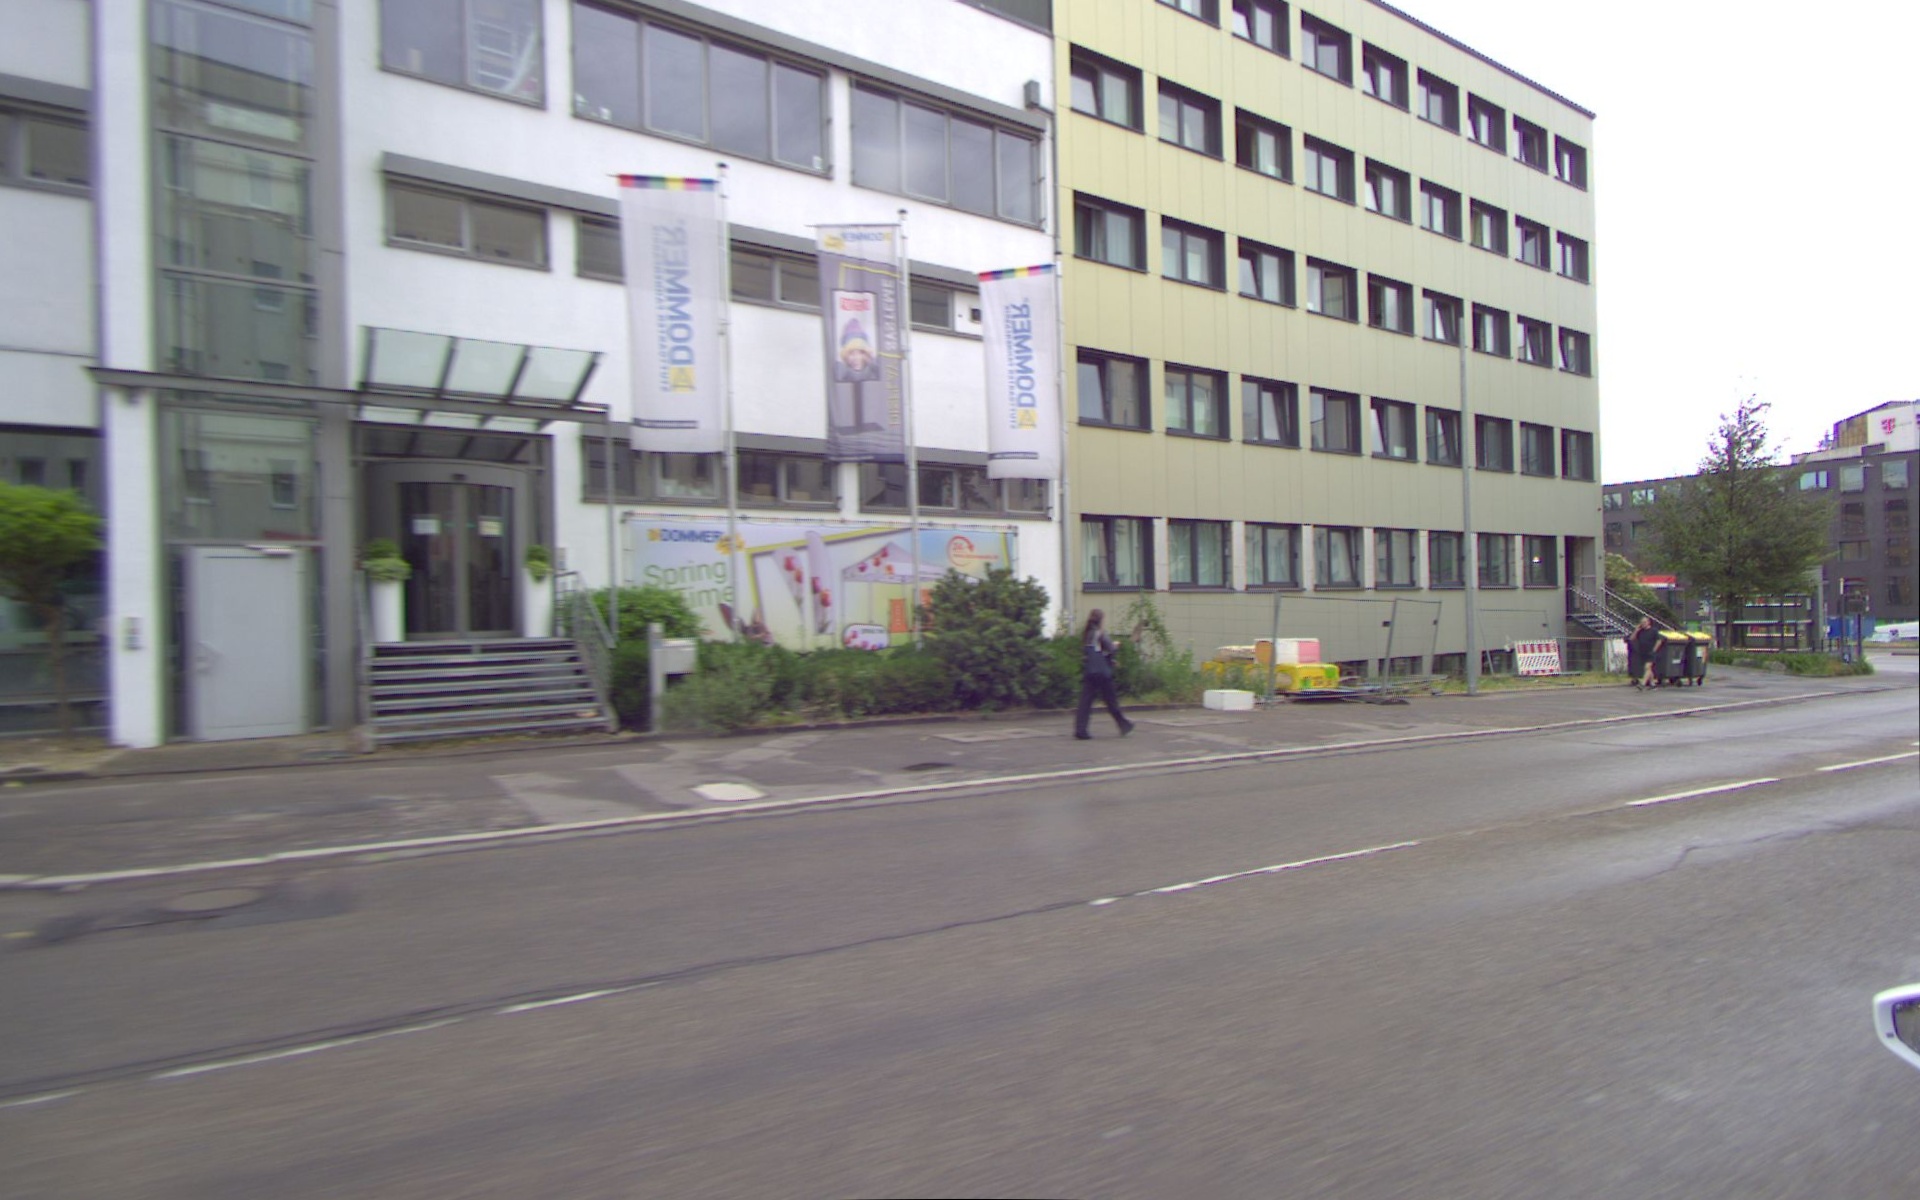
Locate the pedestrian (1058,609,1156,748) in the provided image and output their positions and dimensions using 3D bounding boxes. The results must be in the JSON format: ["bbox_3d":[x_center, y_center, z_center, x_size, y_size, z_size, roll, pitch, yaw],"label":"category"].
[{"bbox_3d":[1.885,0.977,12.898,0.958,1.699,0.763,1,0,-32],"label":"pedestrian"}]

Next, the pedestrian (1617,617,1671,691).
[{"bbox_3d":[16.738,1.301,24.581,0.931,1.755,0.751,1,0,-30],"label":"pedestrian"}]

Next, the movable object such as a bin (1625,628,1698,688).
[{"bbox_3d":[18.168,1.489,26.014,1.414,1.464,1.048,2,0,-31],"label":"movable object such as a bin"}]

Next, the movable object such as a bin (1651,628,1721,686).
[{"bbox_3d":[19.350,1.508,26.787,1.343,1.464,1.048,2,0,-31],"label":"movable object such as a bin"}]

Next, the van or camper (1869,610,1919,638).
[{"bbox_3d":[86.403,2.200,91.199,2.710,2.400,5.298,2,0,-33],"label":"van or camper"}]
